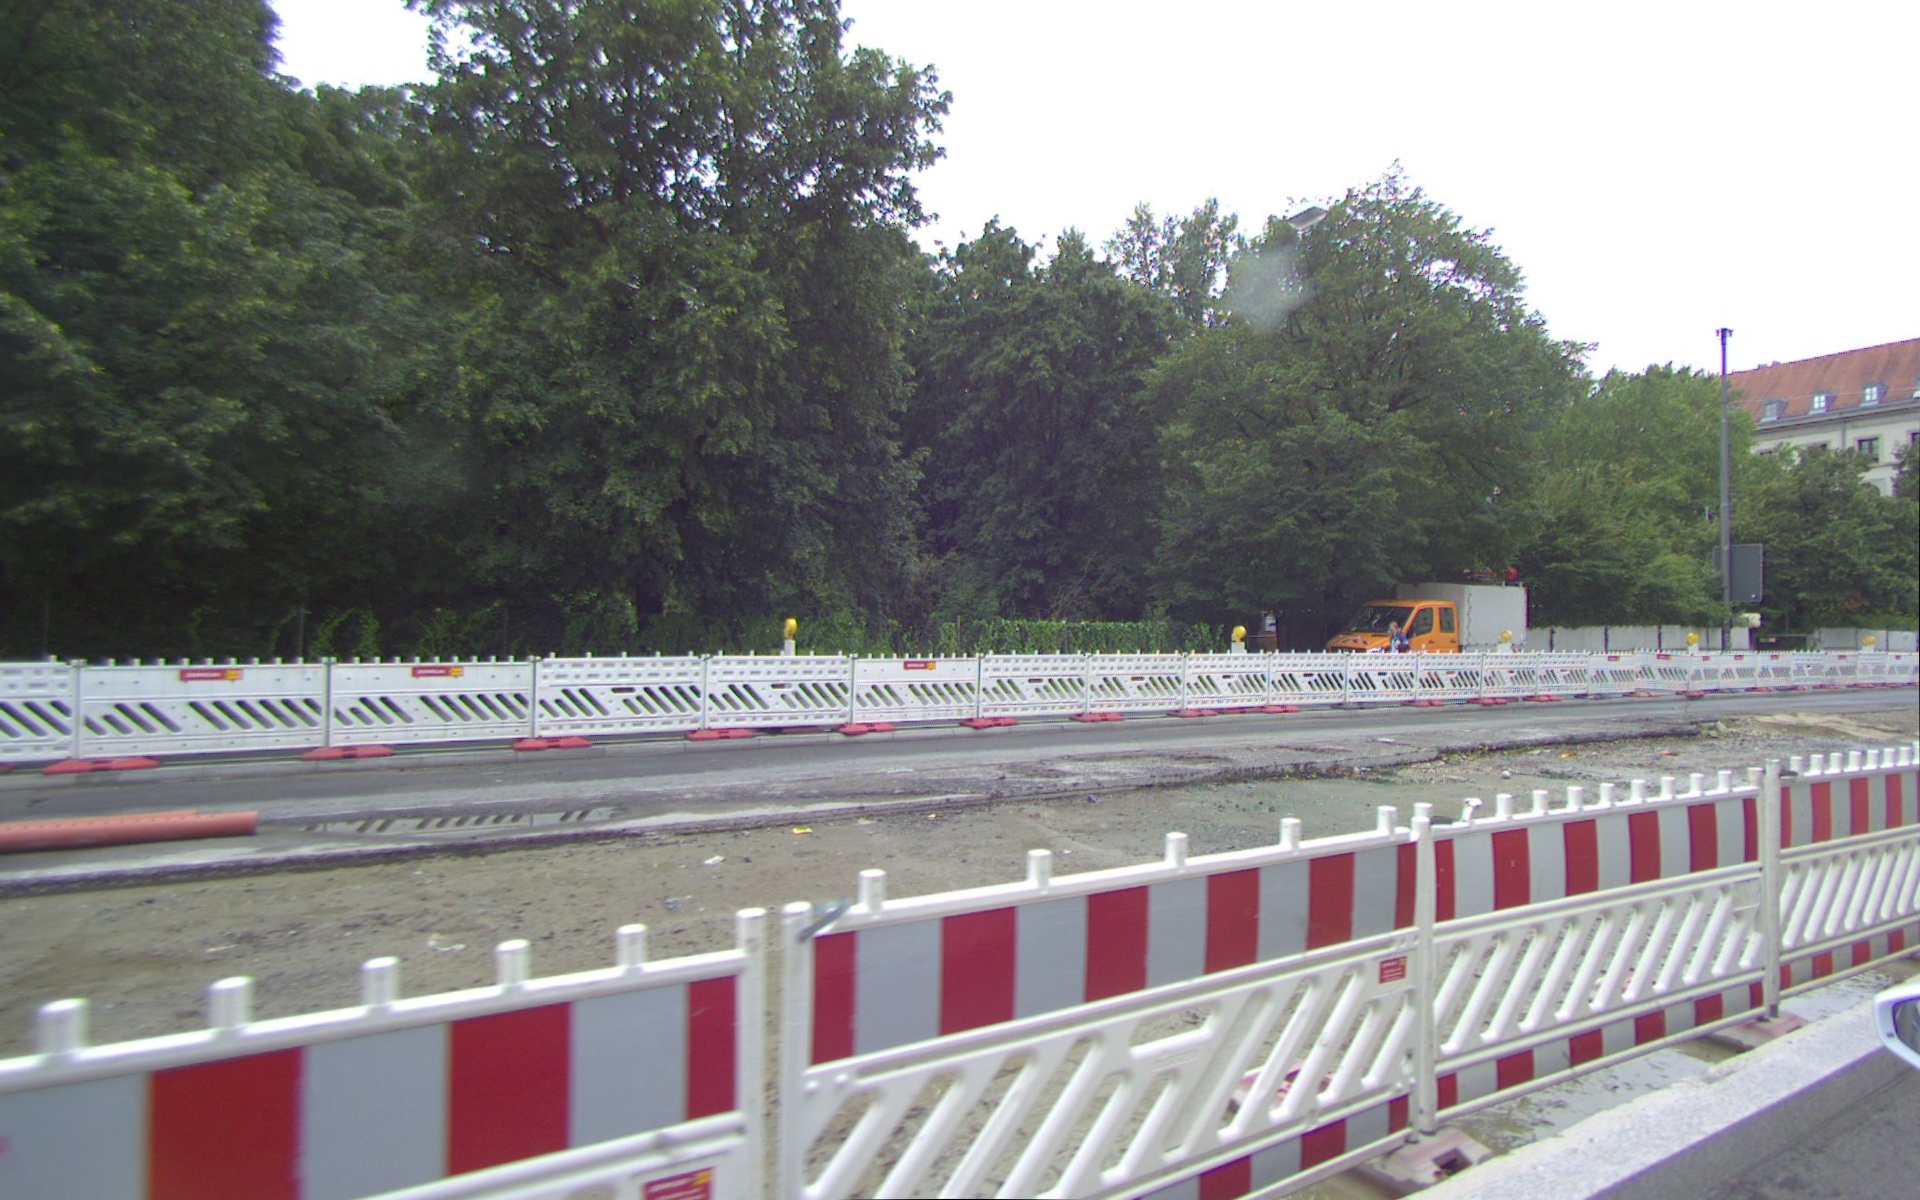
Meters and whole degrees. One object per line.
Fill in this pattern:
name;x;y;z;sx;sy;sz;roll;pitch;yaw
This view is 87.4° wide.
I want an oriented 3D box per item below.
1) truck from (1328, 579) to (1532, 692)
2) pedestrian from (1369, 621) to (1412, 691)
truck;12.634;0.930;26.891;5.800;2.764;1.985;1;-2;-30
pedestrian;10.285;1.319;23.991;0.689;1.624;0.660;1;-1;-29
